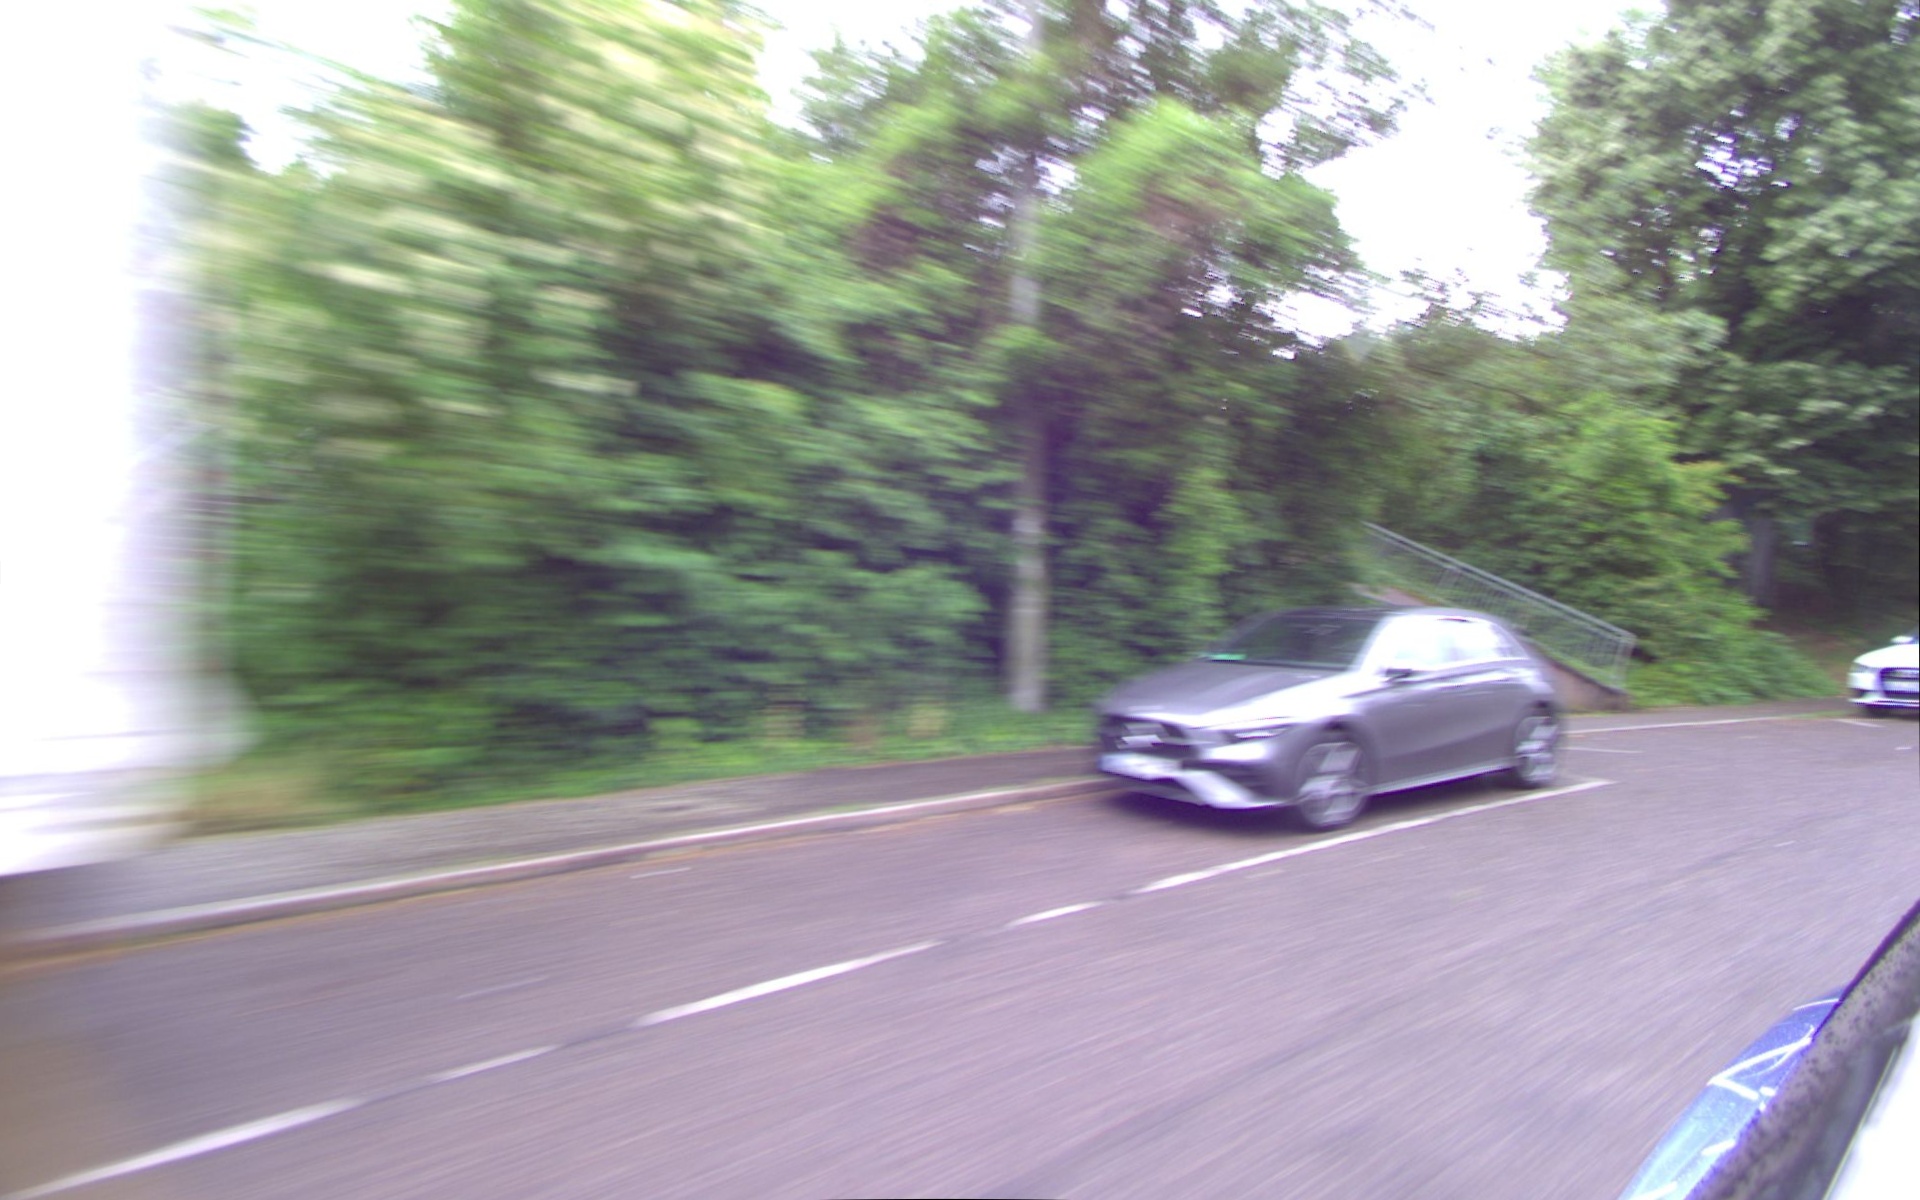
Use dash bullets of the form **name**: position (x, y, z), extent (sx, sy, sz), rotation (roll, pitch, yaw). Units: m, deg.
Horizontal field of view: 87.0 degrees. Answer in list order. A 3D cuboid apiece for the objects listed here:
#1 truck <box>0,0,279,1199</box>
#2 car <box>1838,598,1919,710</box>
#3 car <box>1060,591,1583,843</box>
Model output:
- **truck**: position (-5.477, -0.497, 0.385), extent (3.006, 3.618, 8.207), rotation (2, 1, 42)
- **car**: position (14.074, 0.678, 13.492), extent (4.009, 1.419, 1.763), rotation (0, -2, -19)
- **car**: position (2.868, 0.684, 7.733), extent (4.045, 1.462, 1.726), rotation (0, 0, -34)
